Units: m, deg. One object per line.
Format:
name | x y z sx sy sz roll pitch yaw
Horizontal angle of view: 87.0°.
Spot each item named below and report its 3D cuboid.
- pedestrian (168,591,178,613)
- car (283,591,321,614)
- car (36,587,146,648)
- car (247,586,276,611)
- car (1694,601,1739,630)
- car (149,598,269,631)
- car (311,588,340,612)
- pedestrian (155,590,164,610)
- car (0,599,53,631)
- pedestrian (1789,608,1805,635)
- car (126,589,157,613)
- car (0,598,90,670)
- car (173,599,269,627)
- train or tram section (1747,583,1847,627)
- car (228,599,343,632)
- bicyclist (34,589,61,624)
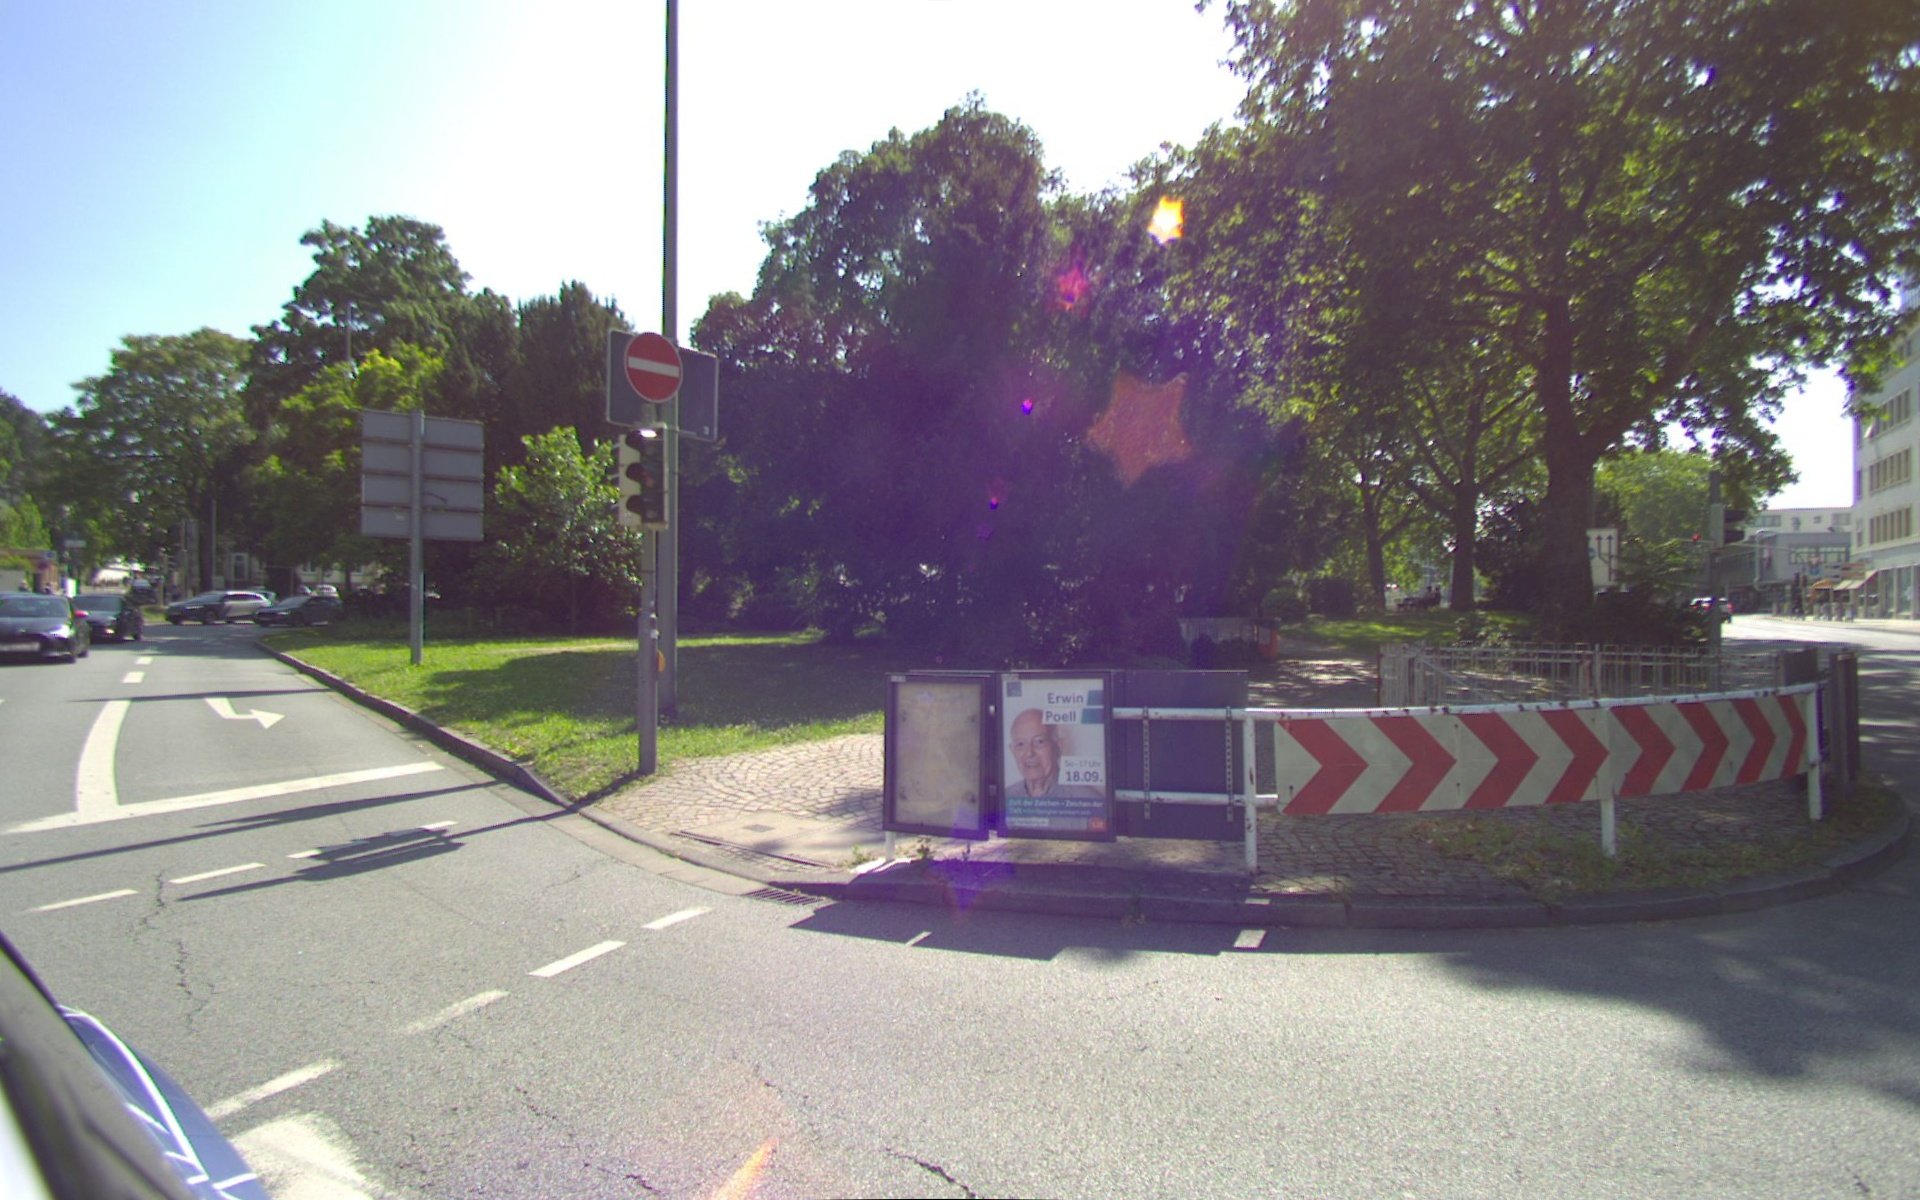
pedestrian | -60.928 0.134 78.352 0.593 1.718 0.605 0 0 -42
car | -50.001 0.189 76.862 1.823 1.674 4.005 1 -1 -43
car | -26.442 0.506 30.931 1.859 1.696 4.154 3 -1 -32
car | -57.683 -0.119 83.509 1.821 2.029 4.009 1 -1 -36
car | 46.567 0.929 62.354 1.845 1.748 4.013 -2 -1 33
car | -35.160 0.683 47.542 1.919 1.440 4.540 0 -1 7
car | -54.995 -0.024 87.671 1.821 2.029 4.009 1 -1 -36
pedestrian | -68.169 0.022 86.229 0.593 1.718 0.605 0 0 -39
car | -48.160 0.757 50.409 1.686 1.566 4.354 0 0 45
pedestrian | 56.137 1.461 67.903 0.694 1.800 0.827 -1 -1 31
car | -63.526 0.114 78.552 1.823 1.801 4.007 0 0 -40
car | -20.575 0.718 22.396 1.782 1.462 3.962 2 -2 -38
car | -43.312 0.722 59.379 1.686 1.566 4.354 0 0 44
train or tram section | 73.049 0.470 88.431 2.115 3.711 6.390 0 -1 -28
car | -31.273 0.726 47.089 1.920 1.440 4.537 0 -1 8
bicyclist | -42.795 0.299 47.475 0.699 1.625 0.734 1 -1 -22
